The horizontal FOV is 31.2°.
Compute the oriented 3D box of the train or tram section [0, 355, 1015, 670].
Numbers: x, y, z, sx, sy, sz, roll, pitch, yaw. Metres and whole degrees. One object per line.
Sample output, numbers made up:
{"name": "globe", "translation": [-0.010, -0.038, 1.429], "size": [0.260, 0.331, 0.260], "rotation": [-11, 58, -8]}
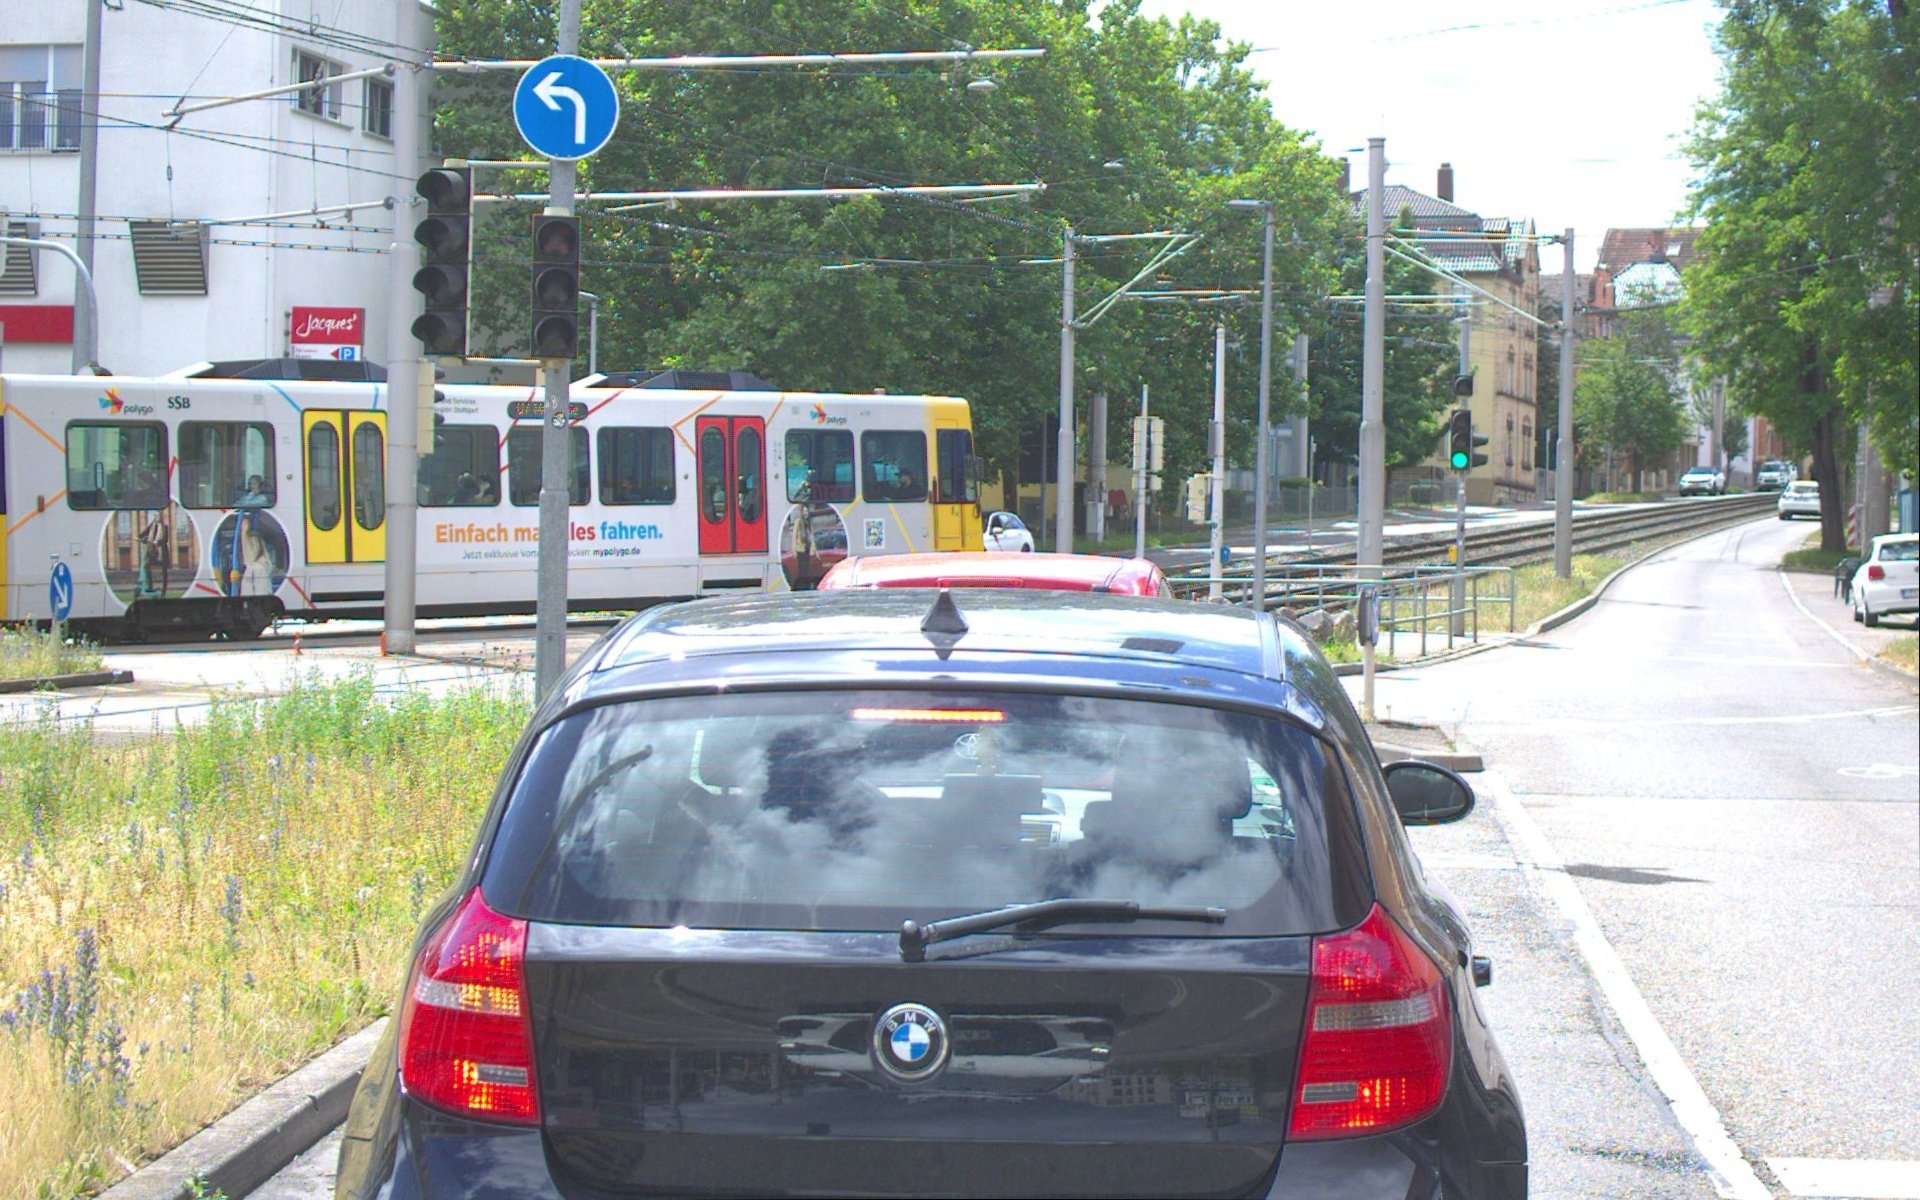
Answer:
{"name": "train or tram section", "translation": [-7.070, -1.119, 49.508], "size": [3.758, 3.801, 20.003], "rotation": [0, 0, 41]}

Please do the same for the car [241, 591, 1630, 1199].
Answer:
{"name": "car", "translation": [-0.117, 0.714, 6.218], "size": [1.701, 1.447, 4.000], "rotation": [0, 0, -3]}

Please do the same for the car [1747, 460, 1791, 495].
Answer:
{"name": "car", "translation": [48.741, -7.363, 207.039], "size": [1.996, 2.007, 3.996], "rotation": [0, 0, 21]}

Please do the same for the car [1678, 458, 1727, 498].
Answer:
{"name": "car", "translation": [40.589, -6.660, 187.955], "size": [1.996, 2.007, 3.996], "rotation": [0, 0, 21]}

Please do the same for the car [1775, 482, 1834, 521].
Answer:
{"name": "car", "translation": [32.687, -3.795, 133.015], "size": [1.817, 1.463, 3.996], "rotation": [0, 1, 20]}

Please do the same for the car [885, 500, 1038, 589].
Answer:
{"name": "car", "translation": [0.075, -1.233, 78.007], "size": [1.855, 1.921, 4.792], "rotation": [0, 0, 21]}

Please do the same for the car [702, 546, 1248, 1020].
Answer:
{"name": "car", "translation": [0.208, 0.565, 12.731], "size": [1.625, 1.468, 3.999], "rotation": [0, 0, 6]}

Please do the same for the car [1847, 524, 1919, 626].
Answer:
{"name": "car", "translation": [15.376, -0.407, 55.774], "size": [1.788, 1.590, 3.998], "rotation": [0, 0, 13]}
